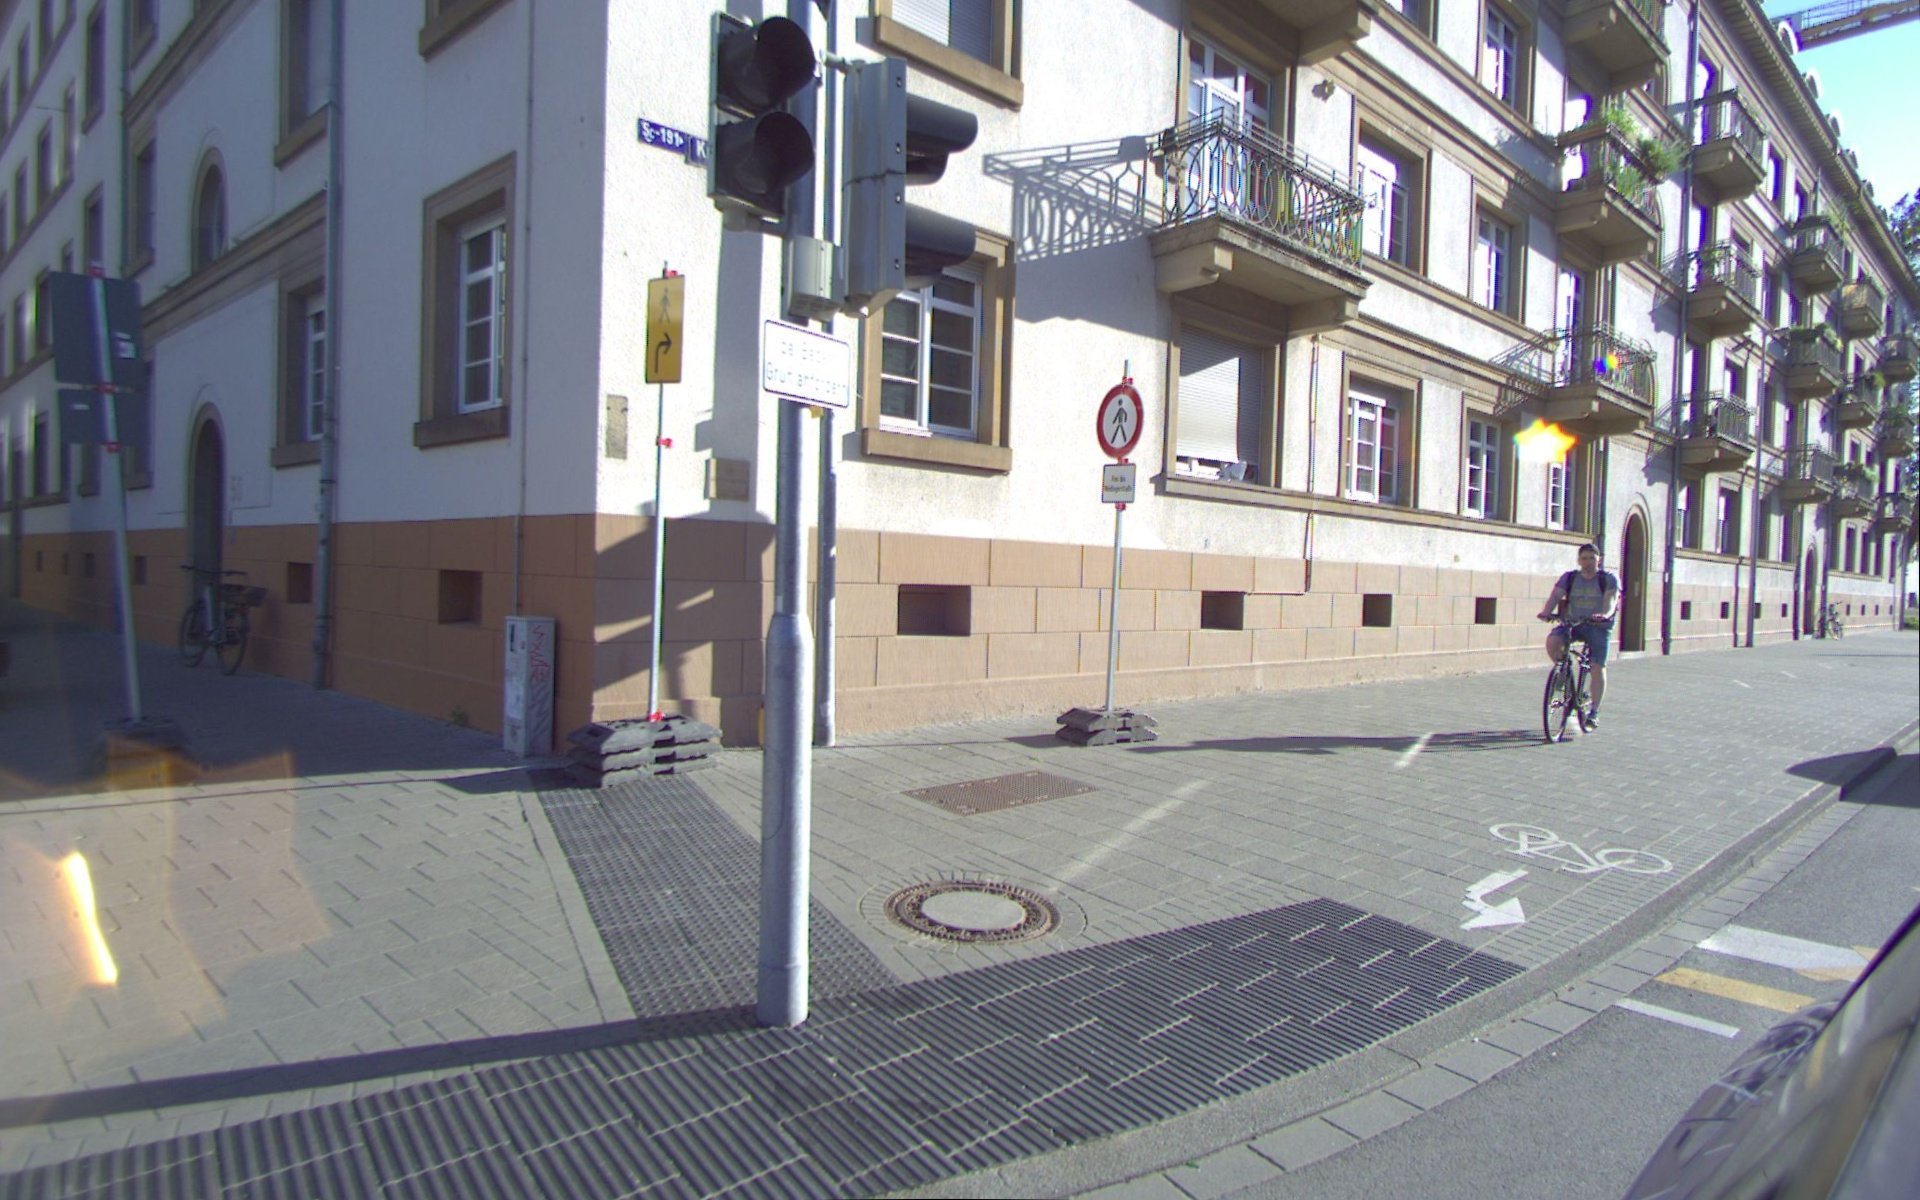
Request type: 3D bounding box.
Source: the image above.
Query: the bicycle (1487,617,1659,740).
[{"bbox_3d":[5.789,0.674,9.494,2.160,0.965,0.768,0,2,-42],"label":"bicycle"}]

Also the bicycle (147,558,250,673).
[{"bbox_3d":[-8.438,0.132,11.189,1.799,1.179,0.401,2,3,36],"label":"bicycle"}]

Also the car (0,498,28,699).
[{"bbox_3d":[-10.133,0.108,7.628,1.691,1.707,4.376,0,3,41],"label":"car"}]

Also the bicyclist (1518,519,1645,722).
[{"bbox_3d":[5.823,0.168,9.477,0.921,1.785,0.734,0,2,-42],"label":"bicyclist"}]

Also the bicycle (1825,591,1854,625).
[{"bbox_3d":[29.502,0.250,33.942,2.160,1.109,0.419,0,2,-41],"label":"bicycle"}]

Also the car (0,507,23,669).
[{"bbox_3d":[-11.998,-0.071,9.571,1.619,1.707,4.382,1,3,37],"label":"car"}]
